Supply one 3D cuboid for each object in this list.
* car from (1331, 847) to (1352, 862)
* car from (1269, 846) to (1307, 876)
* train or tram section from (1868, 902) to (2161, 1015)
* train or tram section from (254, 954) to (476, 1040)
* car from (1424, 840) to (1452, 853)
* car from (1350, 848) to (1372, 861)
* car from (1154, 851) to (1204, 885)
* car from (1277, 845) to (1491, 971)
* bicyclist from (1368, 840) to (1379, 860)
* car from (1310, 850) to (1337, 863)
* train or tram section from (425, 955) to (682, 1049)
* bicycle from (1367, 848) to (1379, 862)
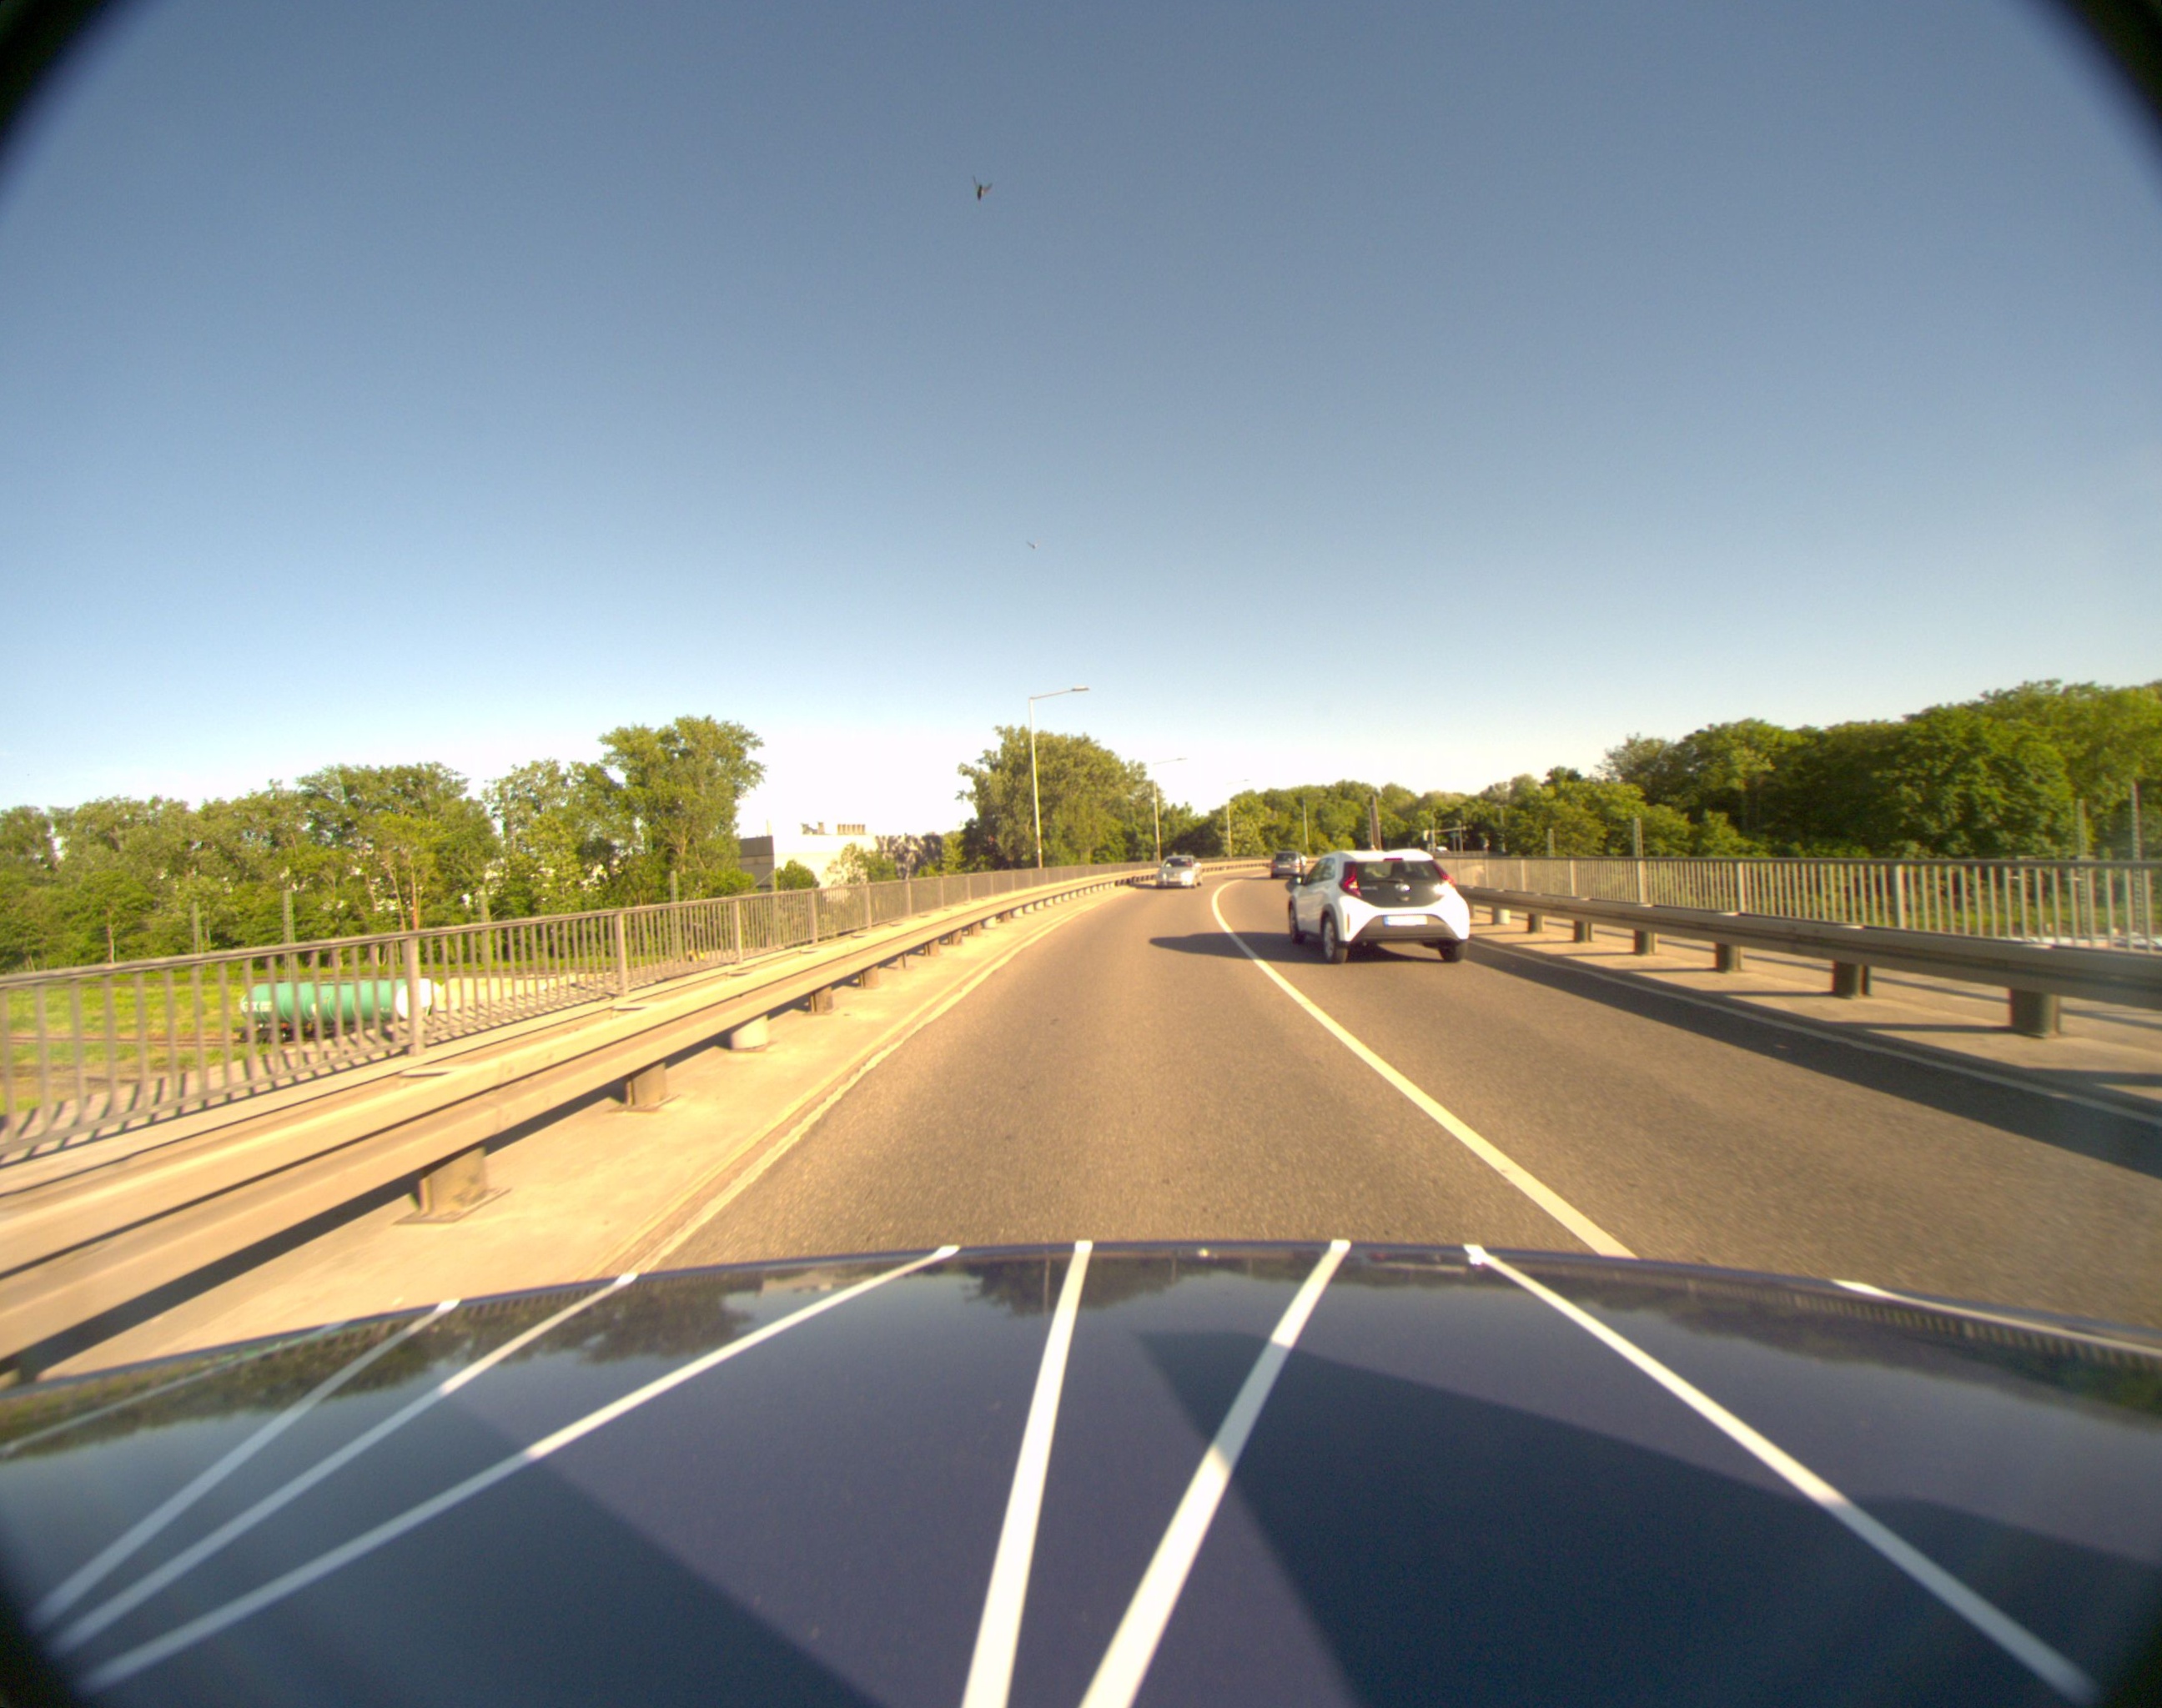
[{"bbox_3d":[25.945,0.036,75.664,1.746,1.347,4.188,-1,0,22],"label":"car"},{"bbox_3d":[12.107,0.373,44.597,1.852,1.614,4.106,-1,0,12],"label":"car"},{"bbox_3d":[47.097,4.595,34.305,16.740,4.564,3.909,-1,1,12],"label":"train or tram section"},{"bbox_3d":[-50.842,9.996,53.965,15.153,5.153,3.340,-1,1,12],"label":"train or tram section"},{"bbox_3d":[75.009,-1.547,159.684,2.116,2.484,5.699,-1,-1,-16],"label":"car"},{"bbox_3d":[35.750,0.044,97.024,1.918,1.608,3.750,-1,0,31],"label":"car"},{"bbox_3d":[4.567,0.601,34.817,1.762,1.428,4.334,-1,0,14],"label":"car"},{"bbox_3d":[4.186,0.658,11.178,1.841,1.510,3.770,-1,0,4],"label":"car"},{"bbox_3d":[23.163,-0.316,60.188,0.654,1.580,0.769,-1,1,28],"label":"bicyclist"},{"bbox_3d":[28.967,0.247,90.812,1.989,1.465,4.138,-1,0,34],"label":"car"},{"bbox_3d":[-35.143,9.625,50.582,16.852,5.231,3.340,-1,1,12],"label":"train or tram section"},{"bbox_3d":[23.090,0.069,60.083,0.654,1.058,1.893,-1,1,28],"label":"bicycle"}]
